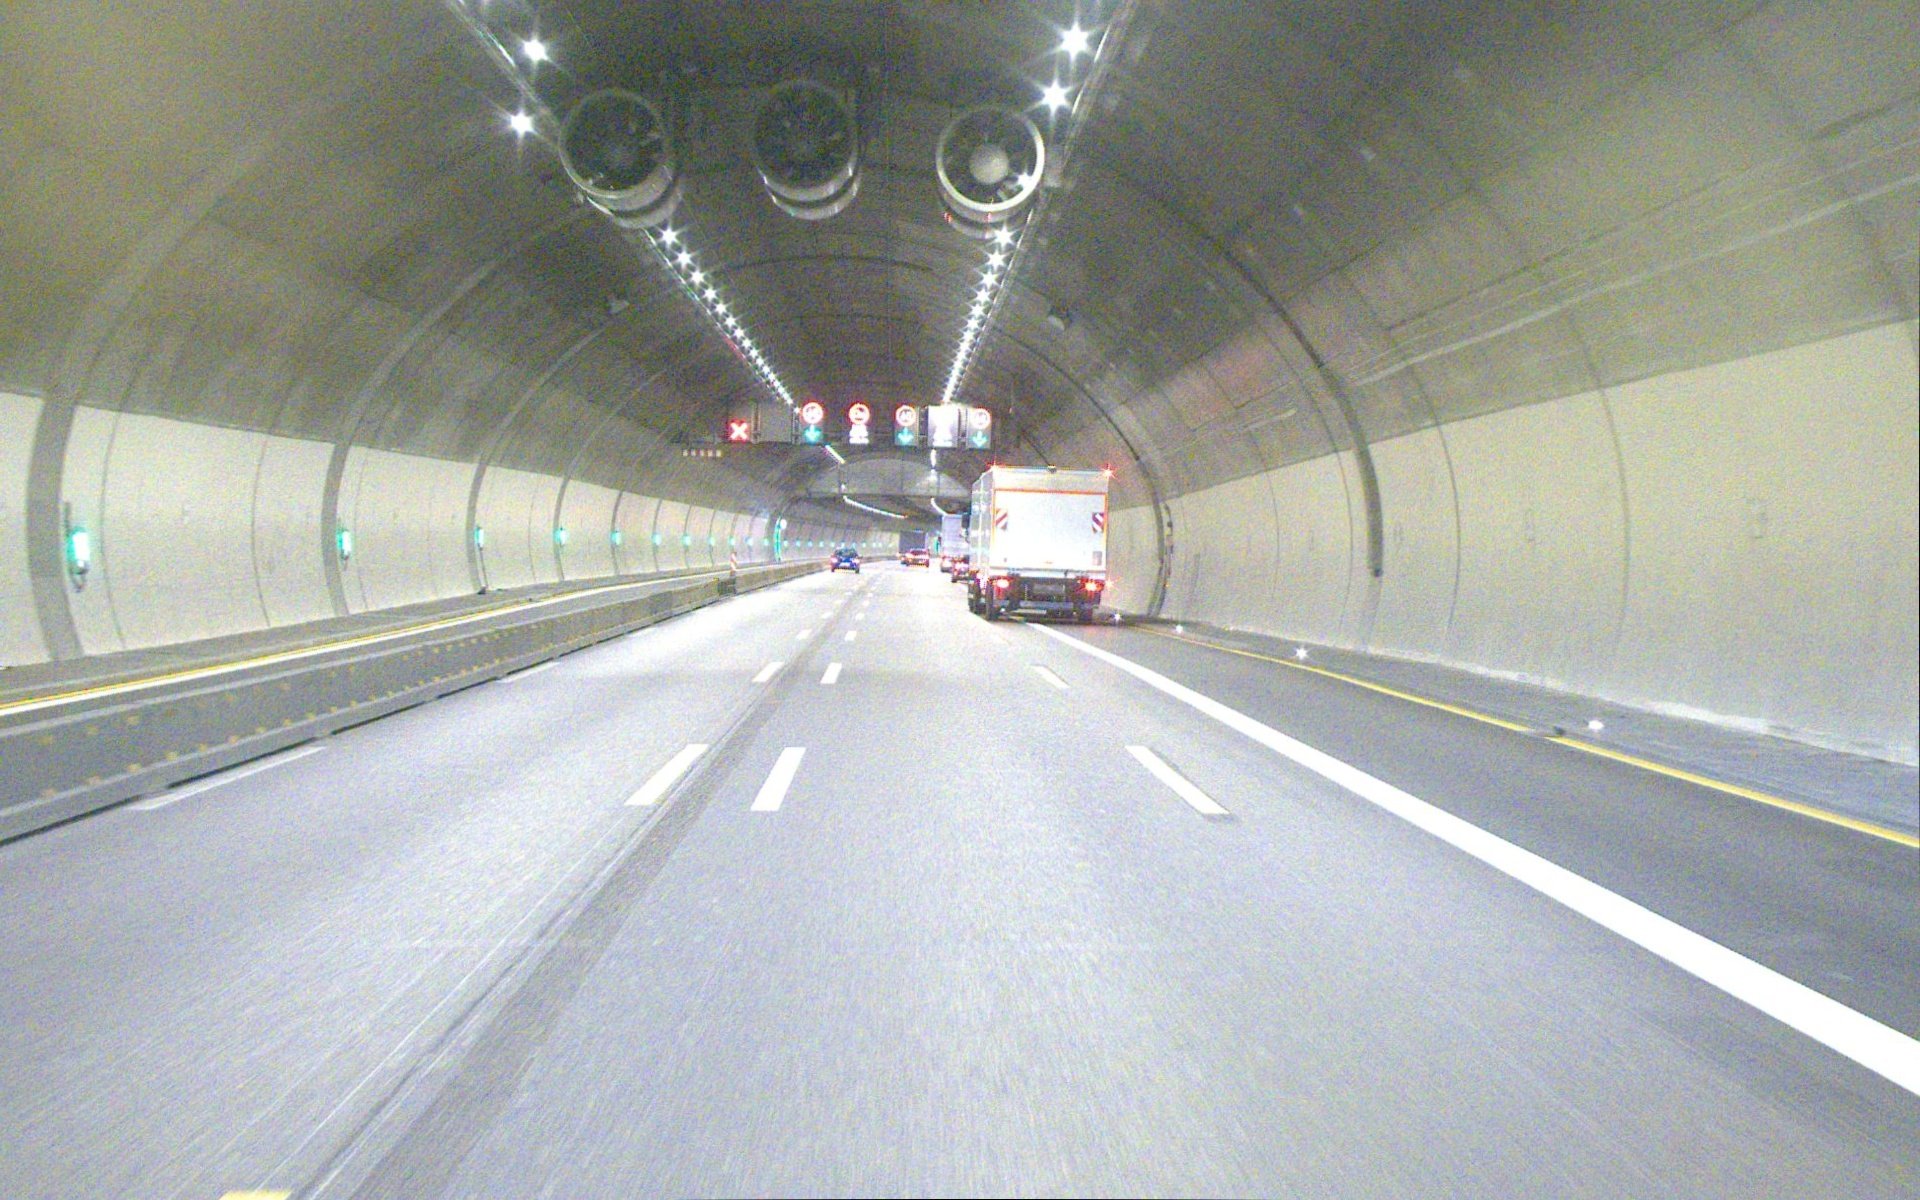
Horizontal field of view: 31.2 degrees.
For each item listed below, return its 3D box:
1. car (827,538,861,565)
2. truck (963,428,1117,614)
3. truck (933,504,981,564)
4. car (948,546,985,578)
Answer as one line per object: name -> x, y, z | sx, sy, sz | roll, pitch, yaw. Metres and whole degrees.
car -> -6.498, -2.731, 193.531 | 1.758, 1.456, 4.119 | 2, 2, 0
truck -> 1.738, -1.714, 79.240 | 3.092, 3.904, 10.368 | 2, 0, 0
truck -> -0.160, -4.561, 239.262 | 3.066, 3.904, 10.367 | 2, 0, 1
car -> 0.324, -1.859, 168.042 | 1.739, 1.456, 3.960 | 2, 2, 1
